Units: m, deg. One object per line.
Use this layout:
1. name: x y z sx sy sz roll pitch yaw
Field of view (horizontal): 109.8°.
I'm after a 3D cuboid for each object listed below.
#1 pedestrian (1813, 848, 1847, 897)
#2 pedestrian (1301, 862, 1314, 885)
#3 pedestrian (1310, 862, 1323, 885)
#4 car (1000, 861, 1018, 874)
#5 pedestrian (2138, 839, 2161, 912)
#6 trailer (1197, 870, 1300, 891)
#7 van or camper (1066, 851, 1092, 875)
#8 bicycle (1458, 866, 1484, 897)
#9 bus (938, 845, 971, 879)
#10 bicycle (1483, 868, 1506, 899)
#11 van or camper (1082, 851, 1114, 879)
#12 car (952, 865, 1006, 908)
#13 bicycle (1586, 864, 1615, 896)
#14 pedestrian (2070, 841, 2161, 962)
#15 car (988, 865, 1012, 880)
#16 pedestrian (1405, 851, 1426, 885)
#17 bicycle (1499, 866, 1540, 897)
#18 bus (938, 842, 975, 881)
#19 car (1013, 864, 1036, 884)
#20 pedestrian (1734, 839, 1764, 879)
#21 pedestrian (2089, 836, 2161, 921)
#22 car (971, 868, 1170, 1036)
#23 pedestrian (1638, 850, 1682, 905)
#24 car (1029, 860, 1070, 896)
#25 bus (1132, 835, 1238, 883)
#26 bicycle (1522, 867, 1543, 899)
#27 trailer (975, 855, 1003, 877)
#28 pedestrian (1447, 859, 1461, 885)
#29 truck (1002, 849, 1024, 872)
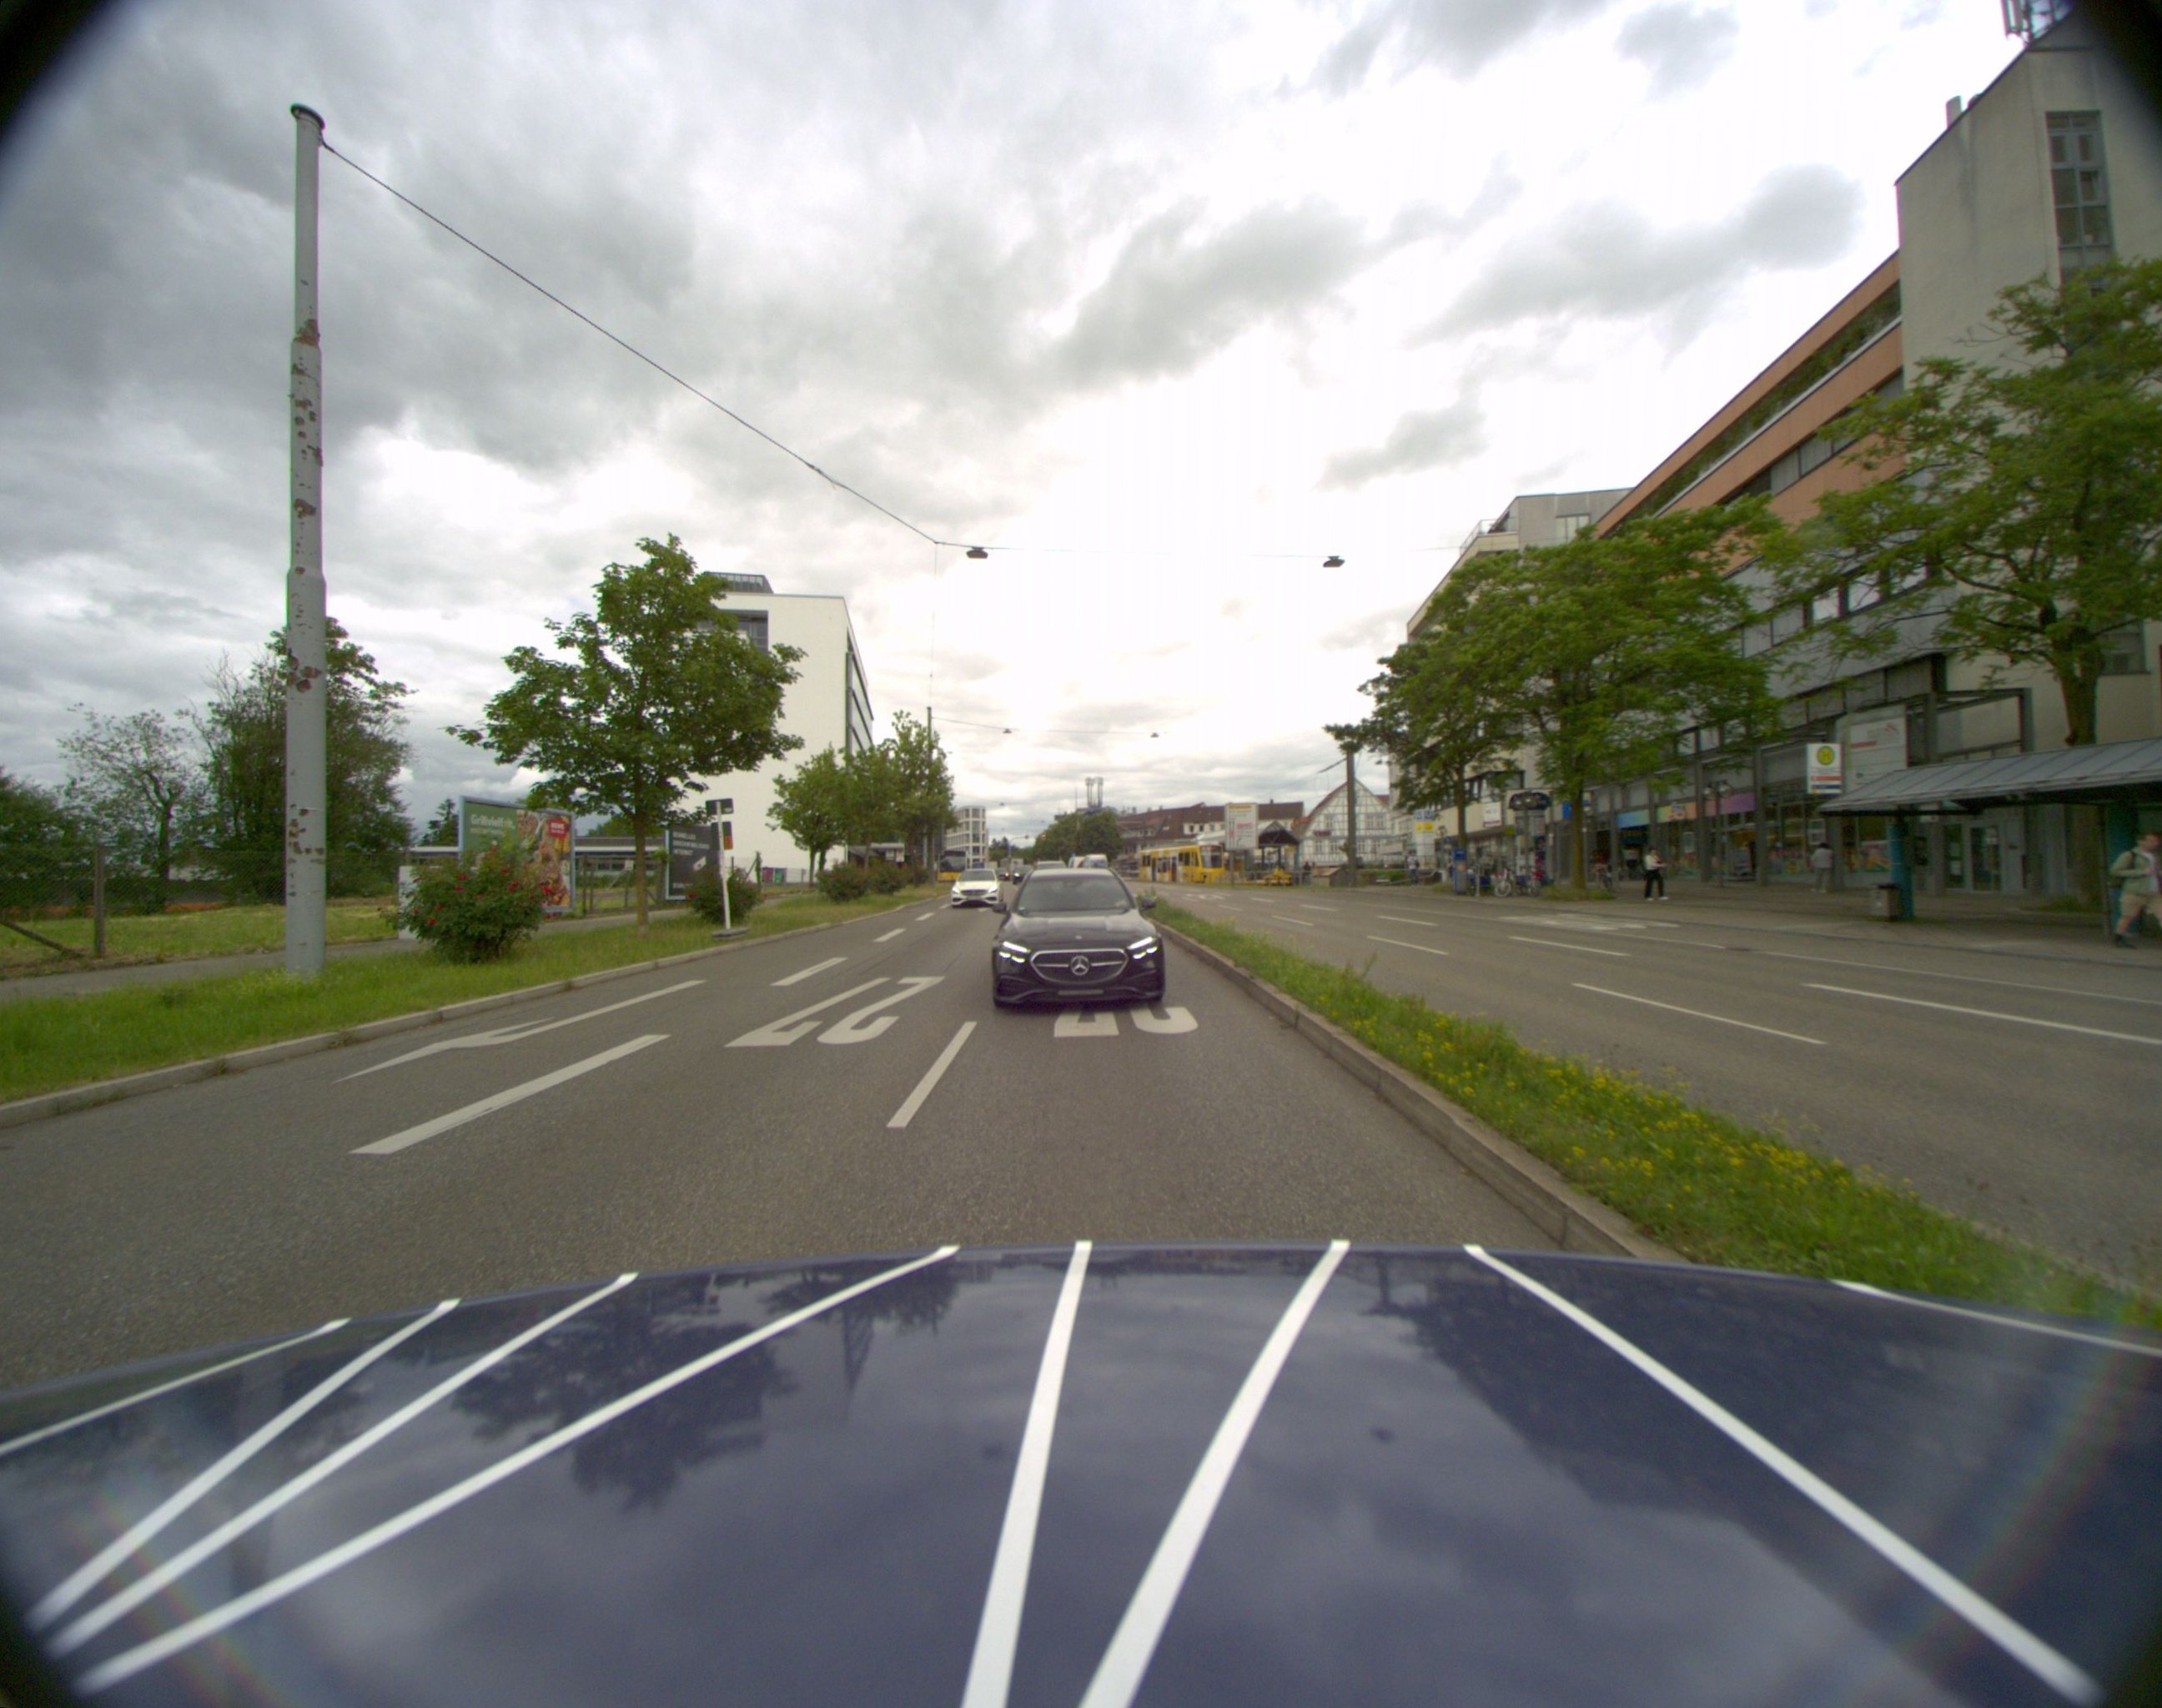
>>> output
1. pedestrian: 24.591 0.602 24.941 0.633 1.590 0.624 -3 0 32
2. pedestrian: 15.421 1.328 51.685 0.601 1.564 0.620 0 -1 -9
3. pedestrian: 16.065 1.302 51.876 0.601 1.564 0.620 0 -1 -9
4. car: -8.985 1.715 95.586 1.735 1.544 4.370 -2 -1 1
5. pedestrian: 24.018 0.465 16.705 0.634 1.590 0.622 -3 0 -2
6. trailer: 11.849 1.831 55.443 2.850 1.325 12.117 0 -1 -11
7. van or camper: -0.240 1.026 84.324 2.000 2.582 6.112 1 -1 -8
8. bicycle: 15.346 1.069 29.881 0.603 1.154 1.969 -3 -1 34
9. bus: -12.969 0.830 77.267 3.046 3.216 9.330 0 -1 -11
10. bicycle: 15.872 1.104 29.173 0.603 1.154 1.969 -1 -1 33
11. van or camper: 1.586 1.035 73.941 2.039 2.582 6.112 1 -1 -9
12. car: -4.126 1.221 30.099 1.874 1.496 4.769 0 0 -11
13. bicycle: 19.683 0.977 28.762 0.672 1.154 2.023 -1 -1 40
14. pedestrian: 16.657 0.711 11.901 0.705 1.812 1.213 -3 1 -2
15. car: -8.242 1.857 76.844 1.737 1.474 4.364 -1 -1 -14
16. pedestrian: 18.529 0.795 42.109 0.747 1.866 0.873 0 0 -7
17. bicycle: 16.988 1.050 29.501 0.604 1.154 1.966 -1 -1 5
18. bus: -11.256 0.675 67.934 2.992 3.221 9.857 -1 -1 -11
19. car: -4.556 1.583 61.541 1.736 1.474 4.368 -2 -1 -4
20. pedestrian: 28.728 0.203 32.679 0.651 1.690 0.668 0 0 -7
21. pedestrian: 21.865 0.501 15.769 0.774 1.706 0.788 -3 0 19
22. car: -0.122 1.019 9.918 1.872 1.542 4.773 -4 -1 -1
23. pedestrian: 18.370 0.735 24.119 0.777 1.703 0.706 -3 0 -4
24. car: -1.544 1.174 38.229 1.735 1.680 4.370 -2 -1 1
25. bus: 9.104 0.615 70.902 3.890 3.836 19.326 0 -1 -11
26. bicycle: 16.678 1.061 28.066 0.603 1.154 1.693 -1 -1 32
27. trailer: -19.192 2.568 157.582 3.115 4.243 14.828 0 -2 -18
28. pedestrian: 24.591 1.203 50.121 0.551 1.690 0.628 0 0 -8
29. truck: -12.051 1.160 134.696 2.948 3.934 9.158 -1 -1 -10
